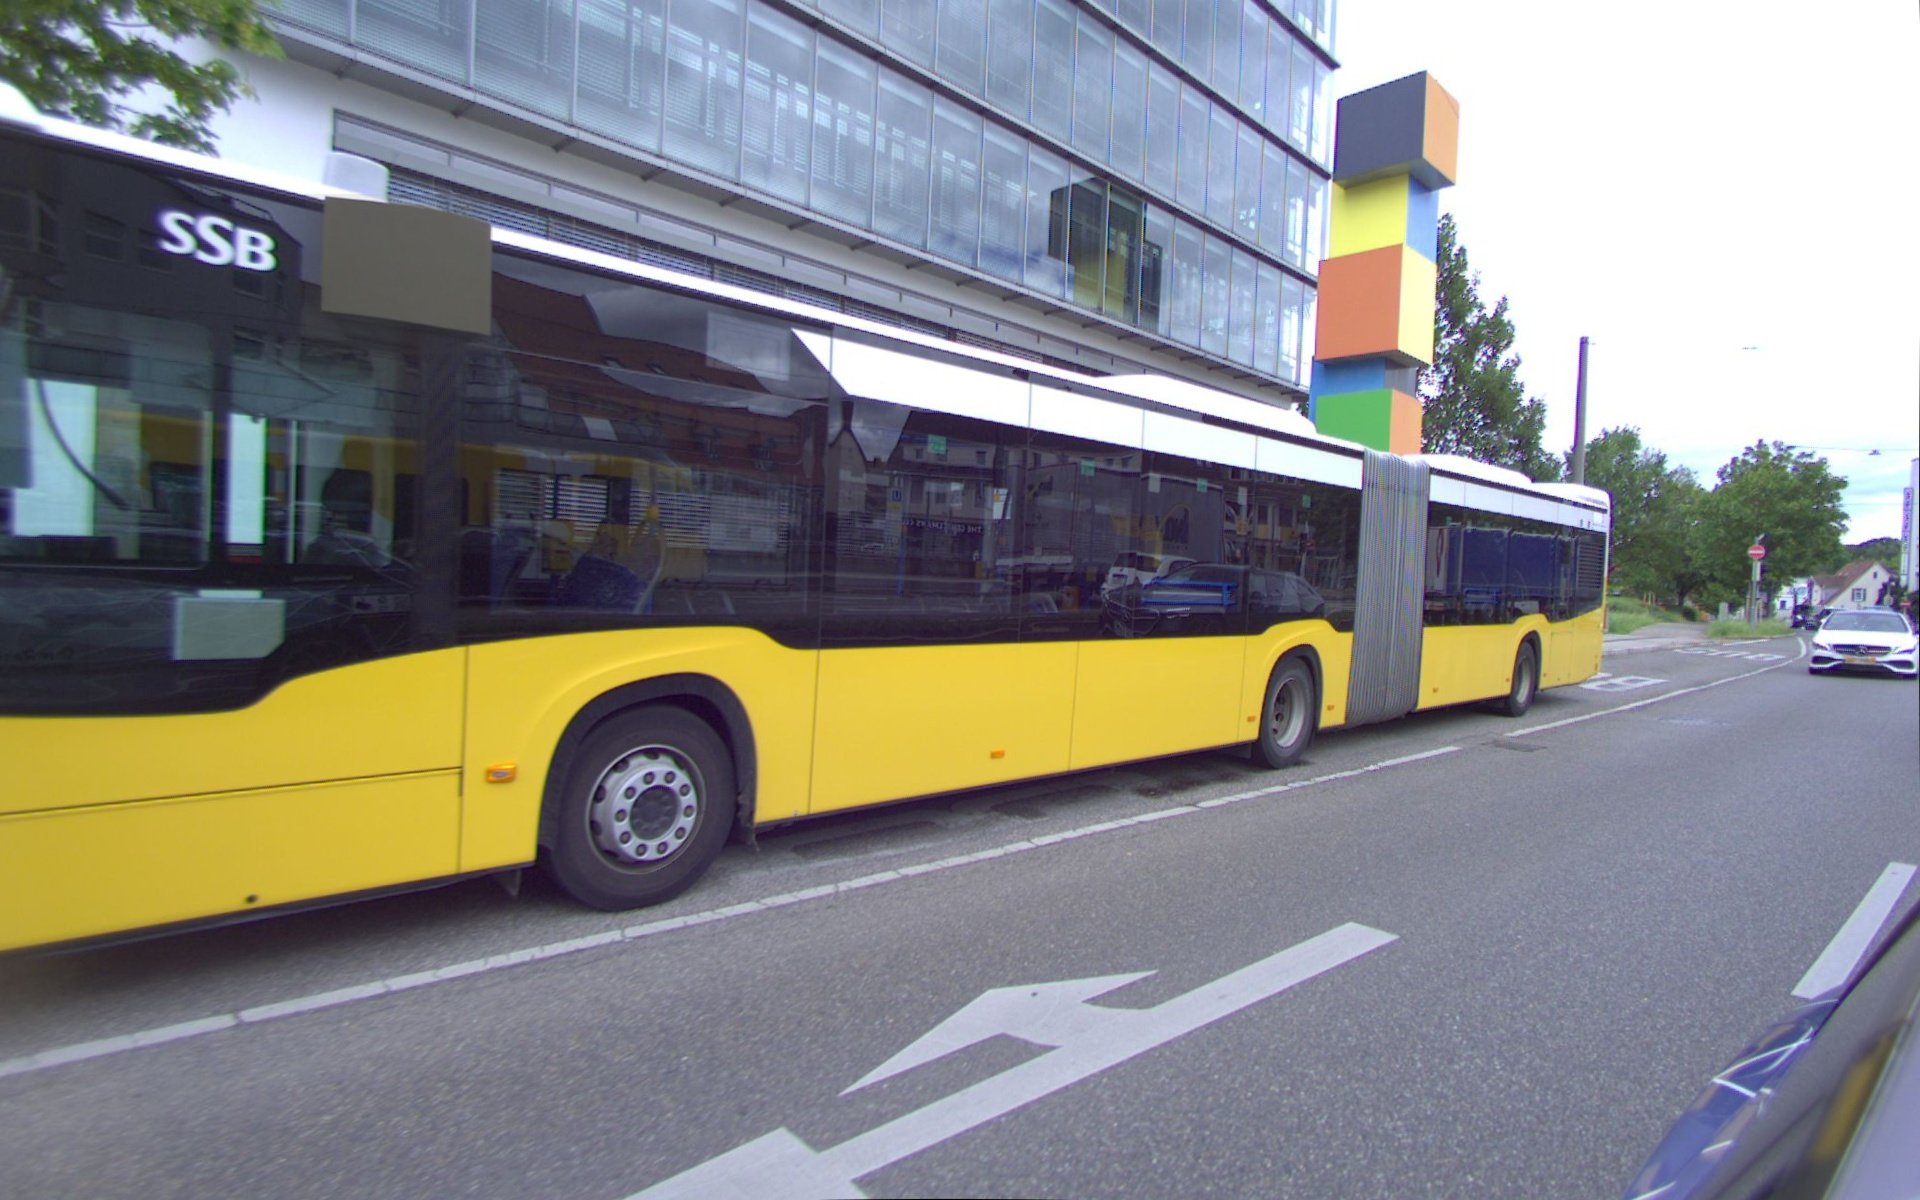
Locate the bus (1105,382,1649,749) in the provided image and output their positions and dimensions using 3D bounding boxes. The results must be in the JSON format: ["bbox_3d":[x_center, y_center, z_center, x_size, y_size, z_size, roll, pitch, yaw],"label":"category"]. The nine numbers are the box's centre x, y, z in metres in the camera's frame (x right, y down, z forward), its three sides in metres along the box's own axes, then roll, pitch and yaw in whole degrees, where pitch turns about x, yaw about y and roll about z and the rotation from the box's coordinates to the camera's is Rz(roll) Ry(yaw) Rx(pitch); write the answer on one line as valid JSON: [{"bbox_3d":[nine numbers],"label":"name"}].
[{"bbox_3d":[6.028,-0.408,13.329,9.181,3.275,3.040,0,3,-43],"label":"bus"}]

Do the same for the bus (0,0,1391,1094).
[{"bbox_3d":[-0.629,-0.338,6.947,9.702,3.281,2.986,-1,3,-44],"label":"bus"}]

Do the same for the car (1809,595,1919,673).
[{"bbox_3d":[20.371,0.691,22.681,1.865,1.524,4.706,3,2,38],"label":"car"}]
